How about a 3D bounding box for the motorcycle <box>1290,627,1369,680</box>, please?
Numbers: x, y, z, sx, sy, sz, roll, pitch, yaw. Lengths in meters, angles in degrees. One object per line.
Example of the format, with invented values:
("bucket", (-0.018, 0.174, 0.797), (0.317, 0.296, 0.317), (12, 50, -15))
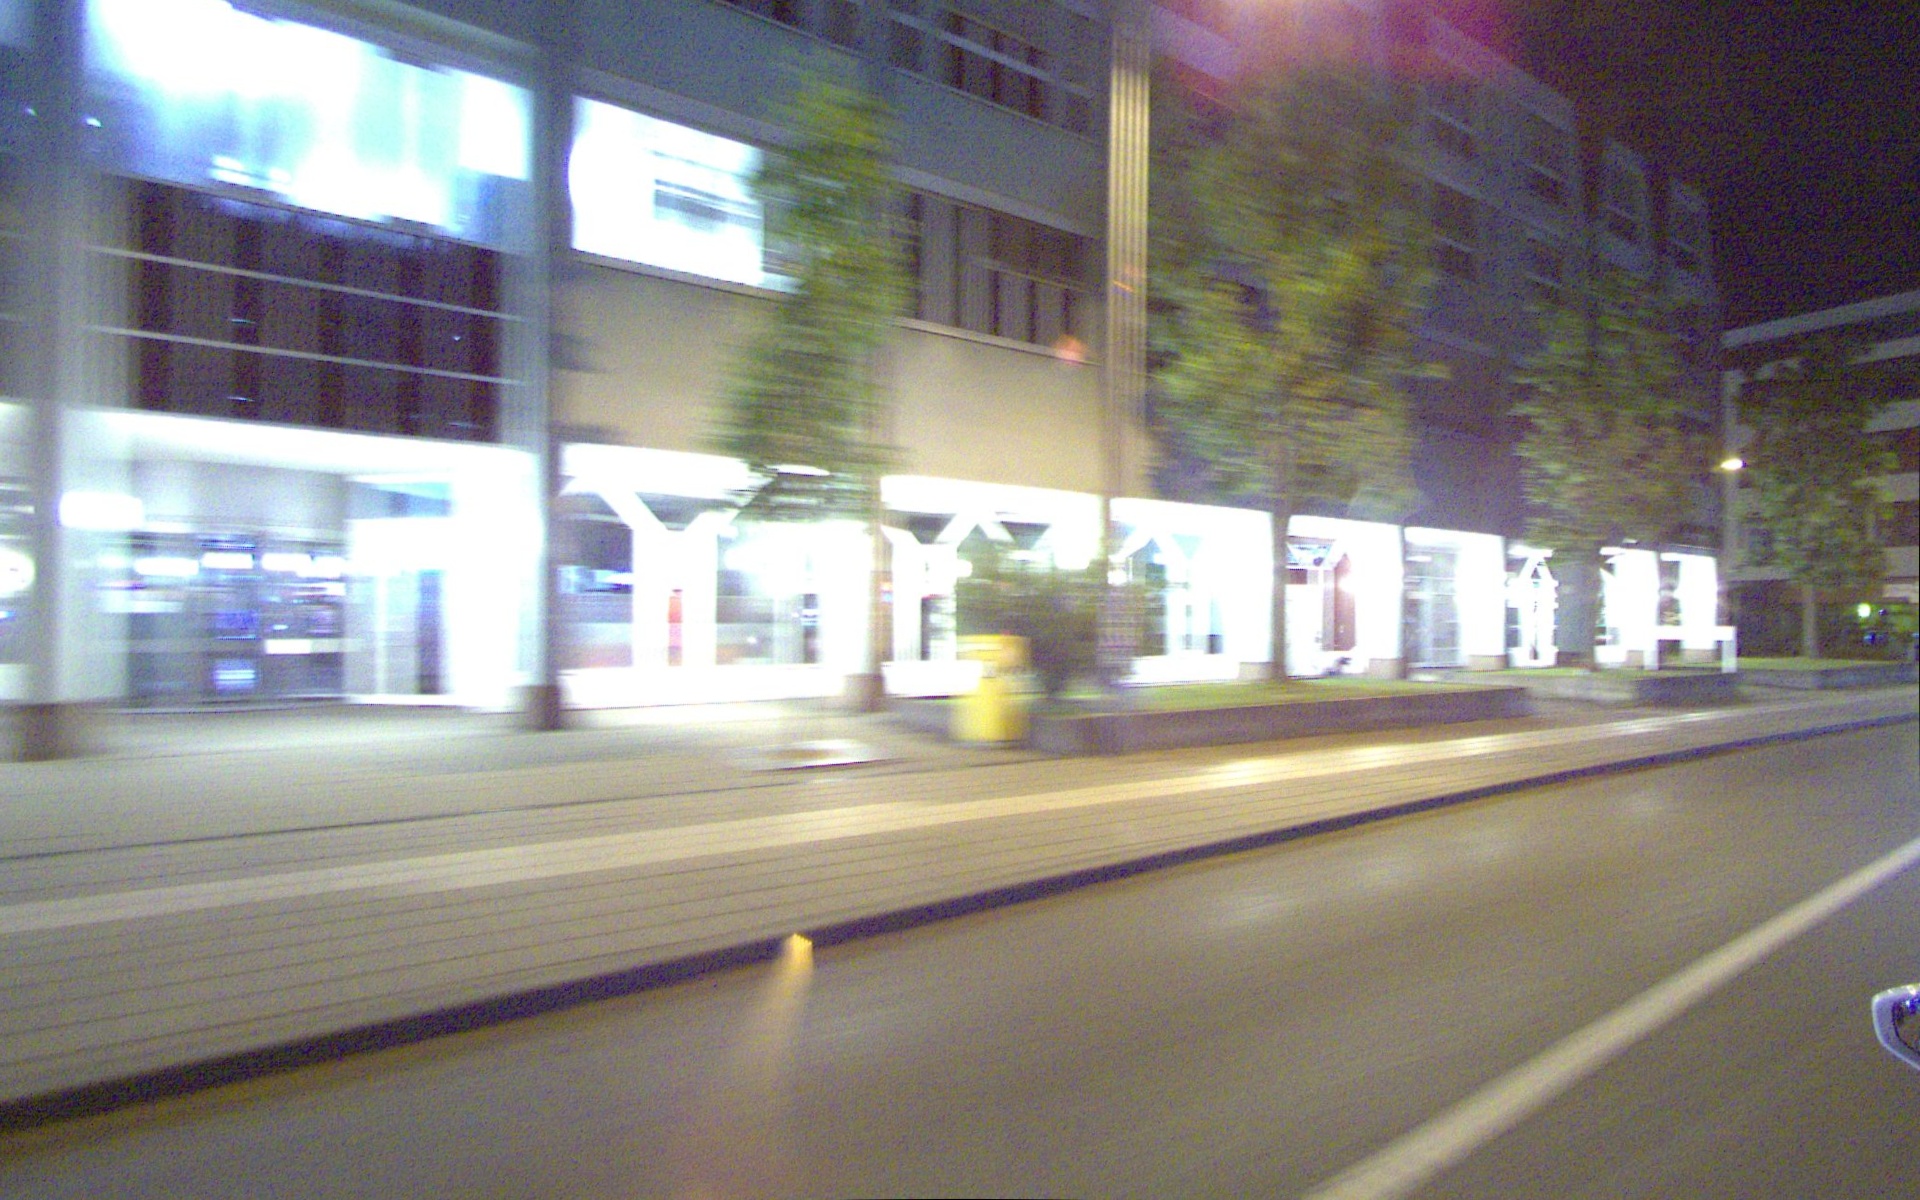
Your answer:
("motorcycle", (7.522, 1.072, 20.418), (1.652, 1.034, 0.477), (0, -1, -24))
